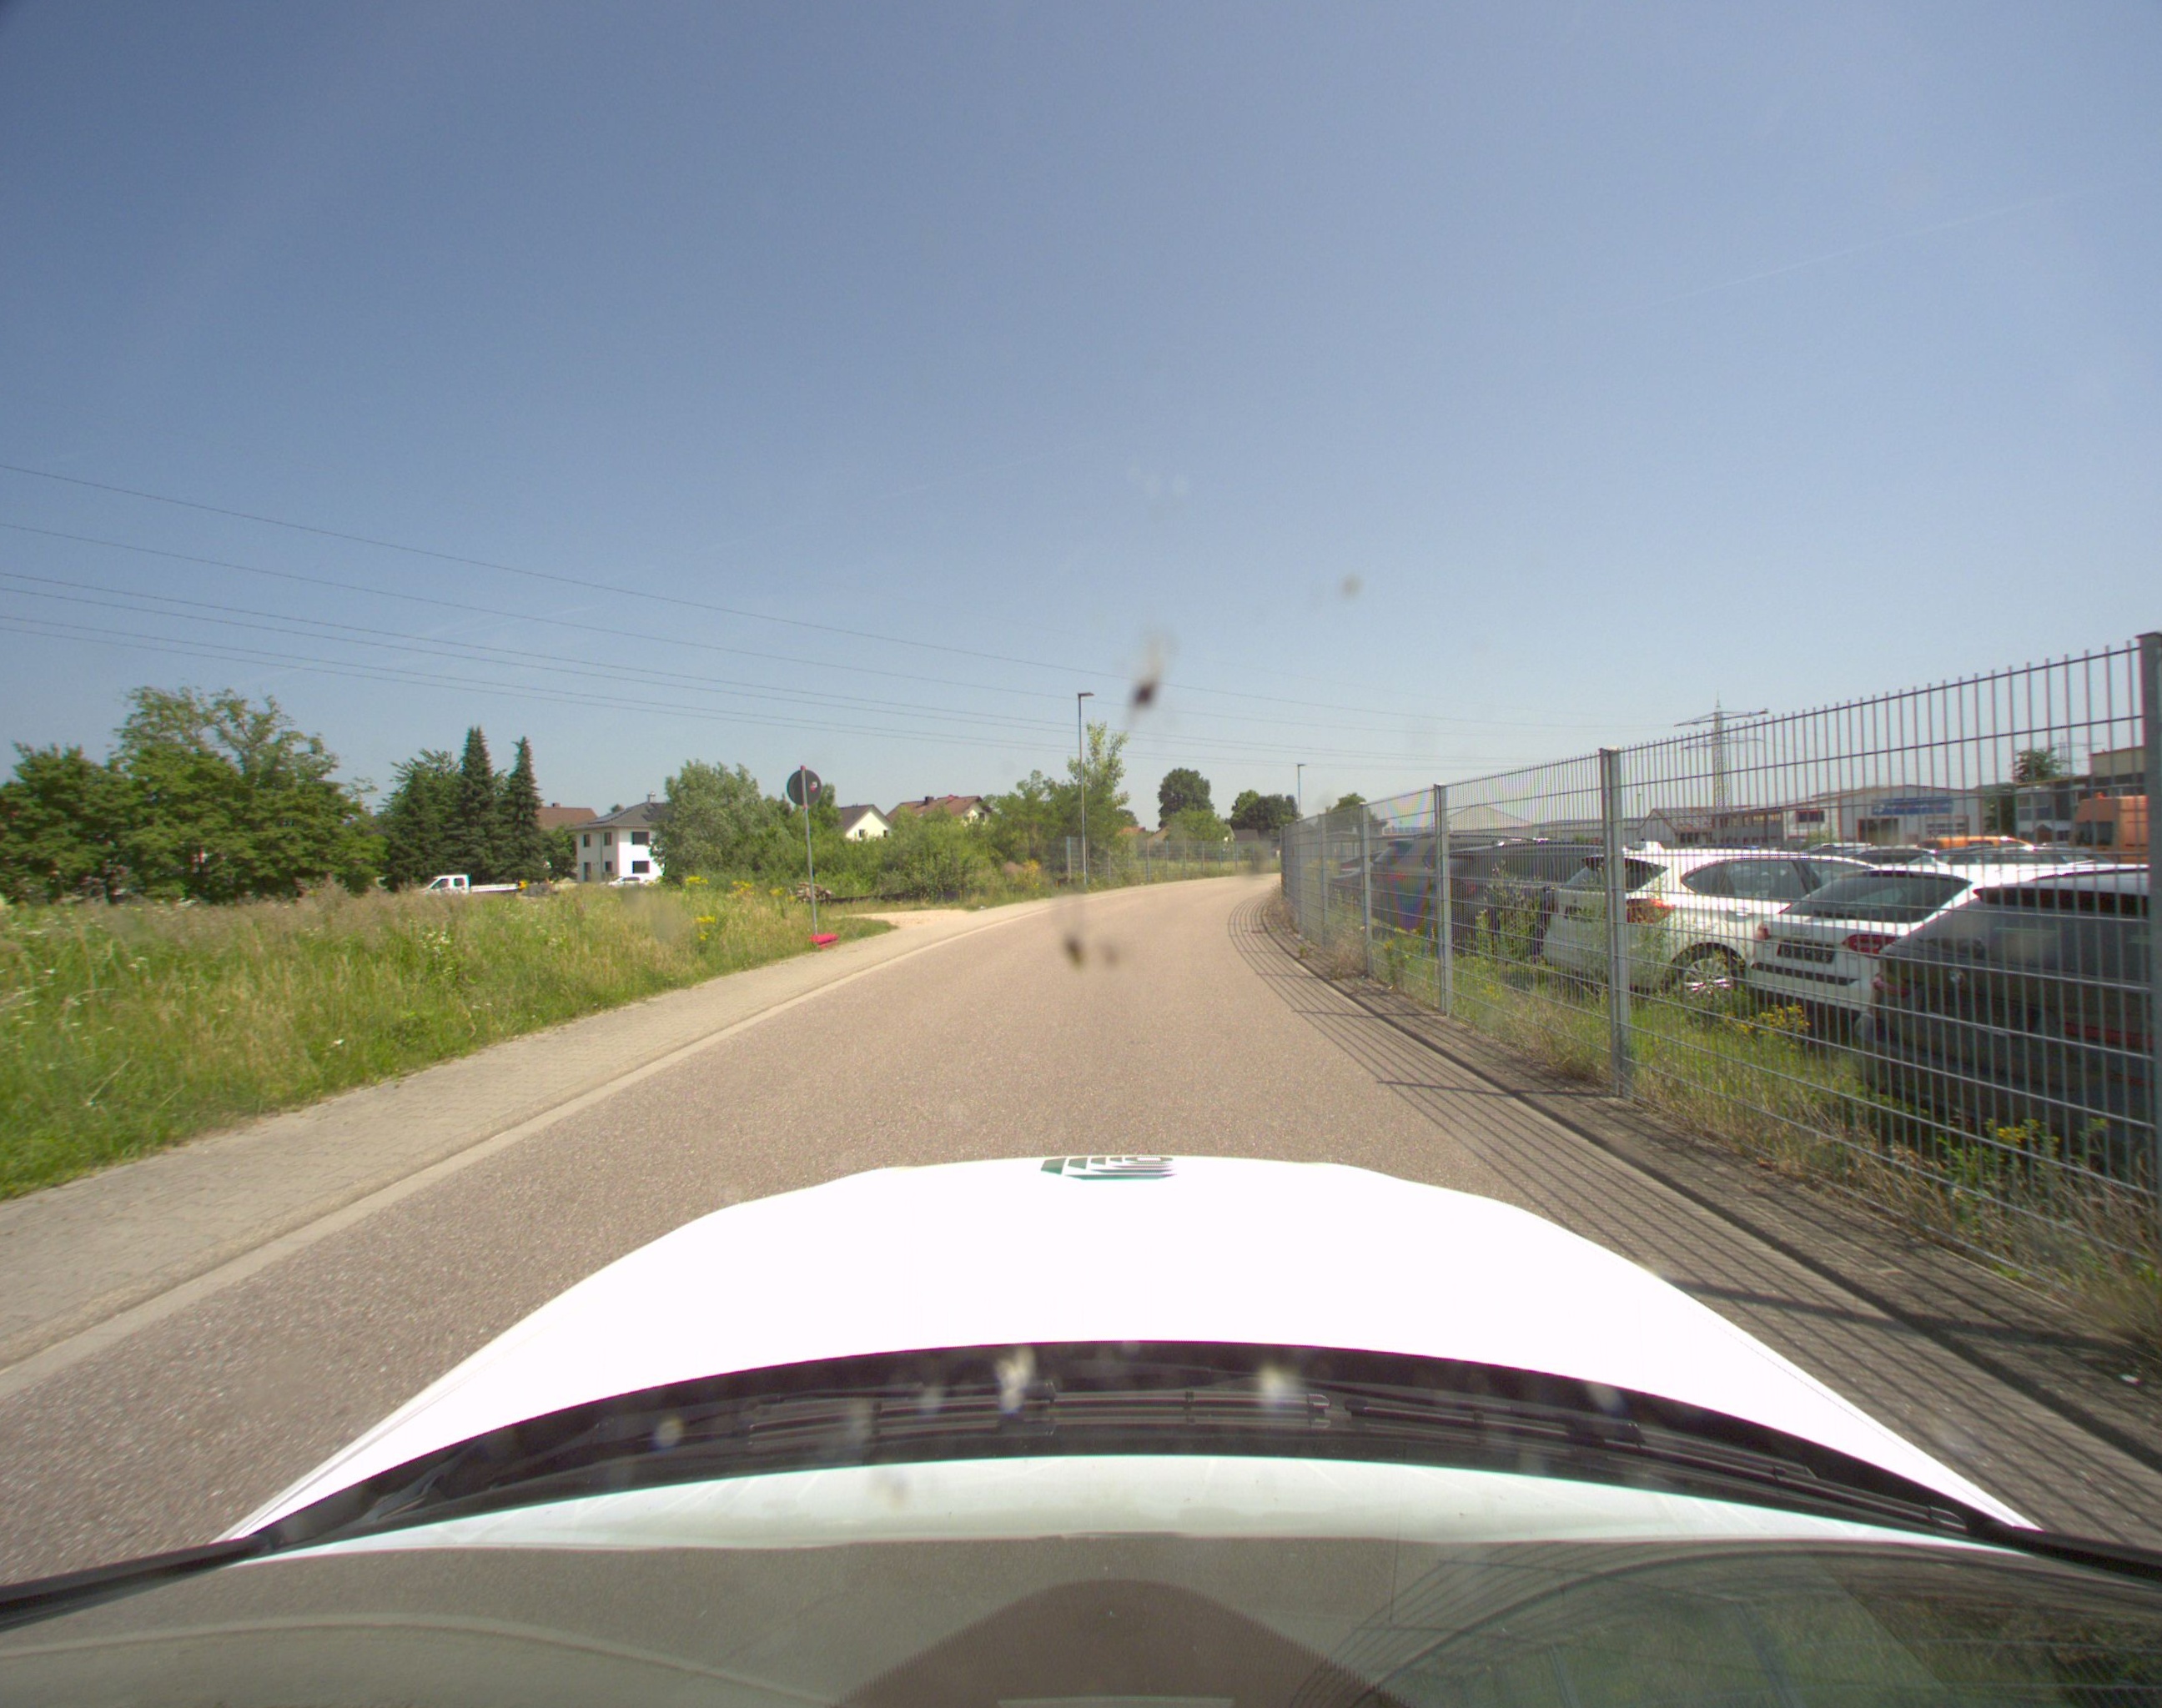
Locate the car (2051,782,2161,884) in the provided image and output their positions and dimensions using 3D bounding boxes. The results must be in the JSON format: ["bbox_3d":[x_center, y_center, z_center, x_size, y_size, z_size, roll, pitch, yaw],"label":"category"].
[{"bbox_3d":[29.180,-0.602,21.142,4.689,2.584,1.991,-2,0,23],"label":"car"}]

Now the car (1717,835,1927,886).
[{"bbox_3d":[22.901,0.208,25.410,4.520,1.432,1.671,-2,0,23],"label":"car"}]

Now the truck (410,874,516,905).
[{"bbox_3d":[-45.938,2.576,60.656,2.093,2.010,5.928,-2,0,40],"label":"truck"}]

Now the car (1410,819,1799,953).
[{"bbox_3d":[7.096,0.424,11.433,4.273,1.603,1.695,-2,0,6],"label":"car"}]

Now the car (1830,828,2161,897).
[{"bbox_3d":[20.500,0.207,18.550,4.702,1.352,1.831,-2,0,23],"label":"car"}]

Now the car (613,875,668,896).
[{"bbox_3d":[-42.188,2.995,78.097,4.280,1.694,1.976,-2,0,-43],"label":"car"}]

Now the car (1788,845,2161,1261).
[{"bbox_3d":[5.773,0.602,3.102,4.346,1.317,1.725,-2,0,12],"label":"car"}]

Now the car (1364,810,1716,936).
[{"bbox_3d":[7.245,0.305,13.312,4.658,1.769,1.747,-2,0,9],"label":"car"}]

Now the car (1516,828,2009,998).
[{"bbox_3d":[6.436,0.537,8.032,3.447,1.417,1.519,-2,0,6],"label":"car"}]

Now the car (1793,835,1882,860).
[{"bbox_3d":[62.135,-0.538,67.010,5.014,1.899,1.868,-1,0,24],"label":"car"}]

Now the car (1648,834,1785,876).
[{"bbox_3d":[27.696,0.061,35.699,4.419,1.649,1.889,-2,0,27],"label":"car"}]

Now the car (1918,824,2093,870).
[{"bbox_3d":[32.696,-0.248,28.937,3.783,1.461,1.598,-2,0,23],"label":"car"}]

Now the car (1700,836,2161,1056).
[{"bbox_3d":[6.822,0.577,5.812,3.442,1.317,1.647,-2,0,12],"label":"car"}]

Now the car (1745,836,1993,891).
[{"bbox_3d":[22.130,0.273,23.154,4.702,1.352,1.831,-2,0,23],"label":"car"}]
